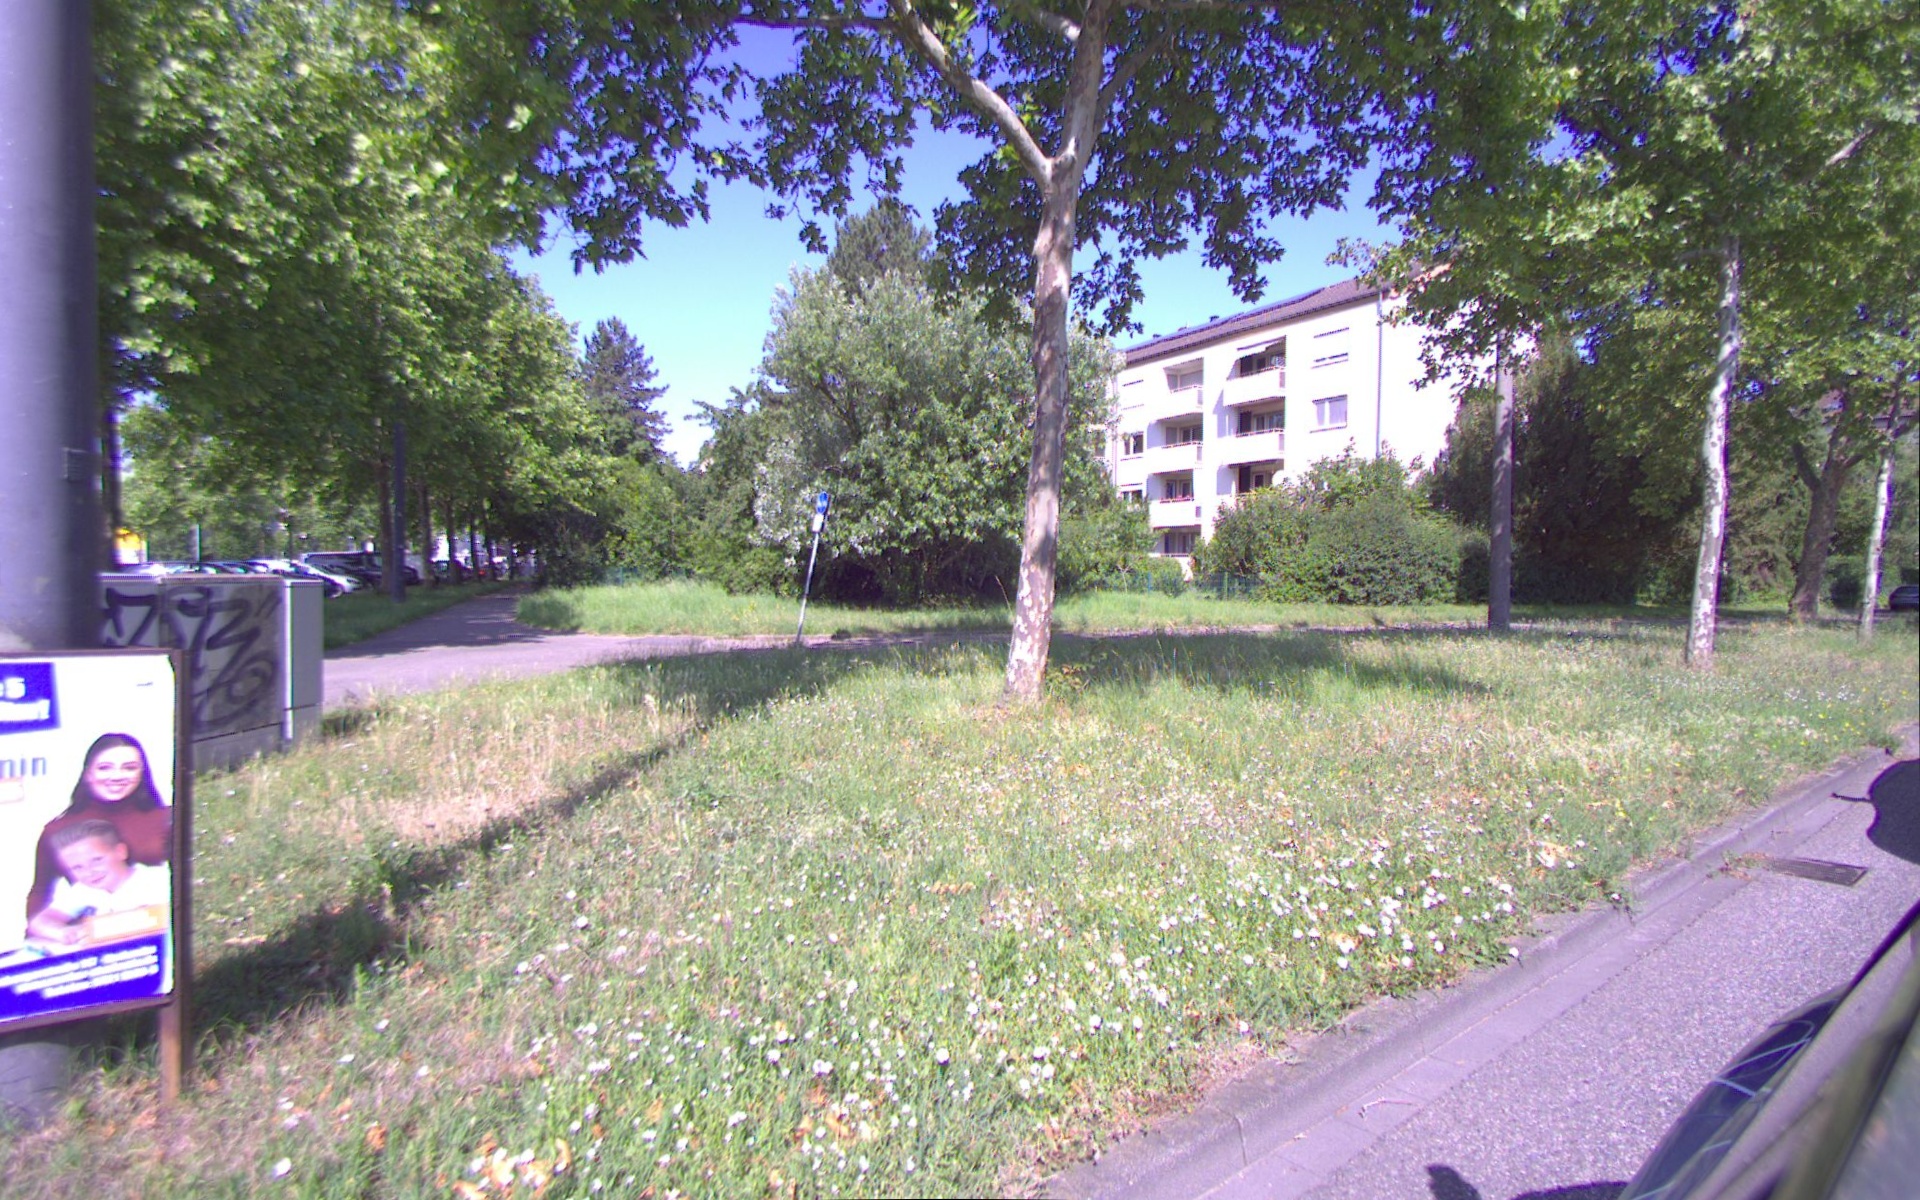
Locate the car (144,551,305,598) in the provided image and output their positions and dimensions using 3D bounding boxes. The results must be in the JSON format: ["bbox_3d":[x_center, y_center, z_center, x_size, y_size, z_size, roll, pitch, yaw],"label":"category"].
[{"bbox_3d":[-25.193,-0.879,34.879,4.267,1.509,2.003,-1,2,-29],"label":"car"}]

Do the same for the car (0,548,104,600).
[{"bbox_3d":[-31.353,-0.858,34.672,1.756,1.676,4.008,0,1,-19],"label":"car"}]

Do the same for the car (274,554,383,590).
[{"bbox_3d":[-29.677,-1.313,47.727,4.267,1.653,2.003,-1,2,-29],"label":"car"}]

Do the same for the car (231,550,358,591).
[{"bbox_3d":[-27.717,-1.219,42.321,4.267,1.653,2.003,-1,2,-29],"label":"car"}]

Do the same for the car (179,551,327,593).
[{"bbox_3d":[-26.045,-1.036,37.489,4.267,1.509,2.003,-1,2,-29],"label":"car"}]

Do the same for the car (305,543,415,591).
[{"bbox_3d":[-30.017,-1.642,50.782,4.494,2.318,2.004,0,2,-23],"label":"car"}]

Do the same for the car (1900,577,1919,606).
[{"bbox_3d":[49.707,-0.431,51.357,4.004,1.389,1.510,0,2,-24],"label":"car"}]

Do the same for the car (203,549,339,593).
[{"bbox_3d":[-27.057,-1.116,39.928,4.267,1.653,2.002,-1,1,-29],"label":"car"}]

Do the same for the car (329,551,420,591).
[{"bbox_3d":[-33.921,-1.702,58.749,4.497,2.236,2.003,0,2,-29],"label":"car"}]

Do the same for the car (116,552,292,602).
[{"bbox_3d":[-24.056,-0.755,32.427,4.267,1.509,2.003,-1,2,-29],"label":"car"}]
